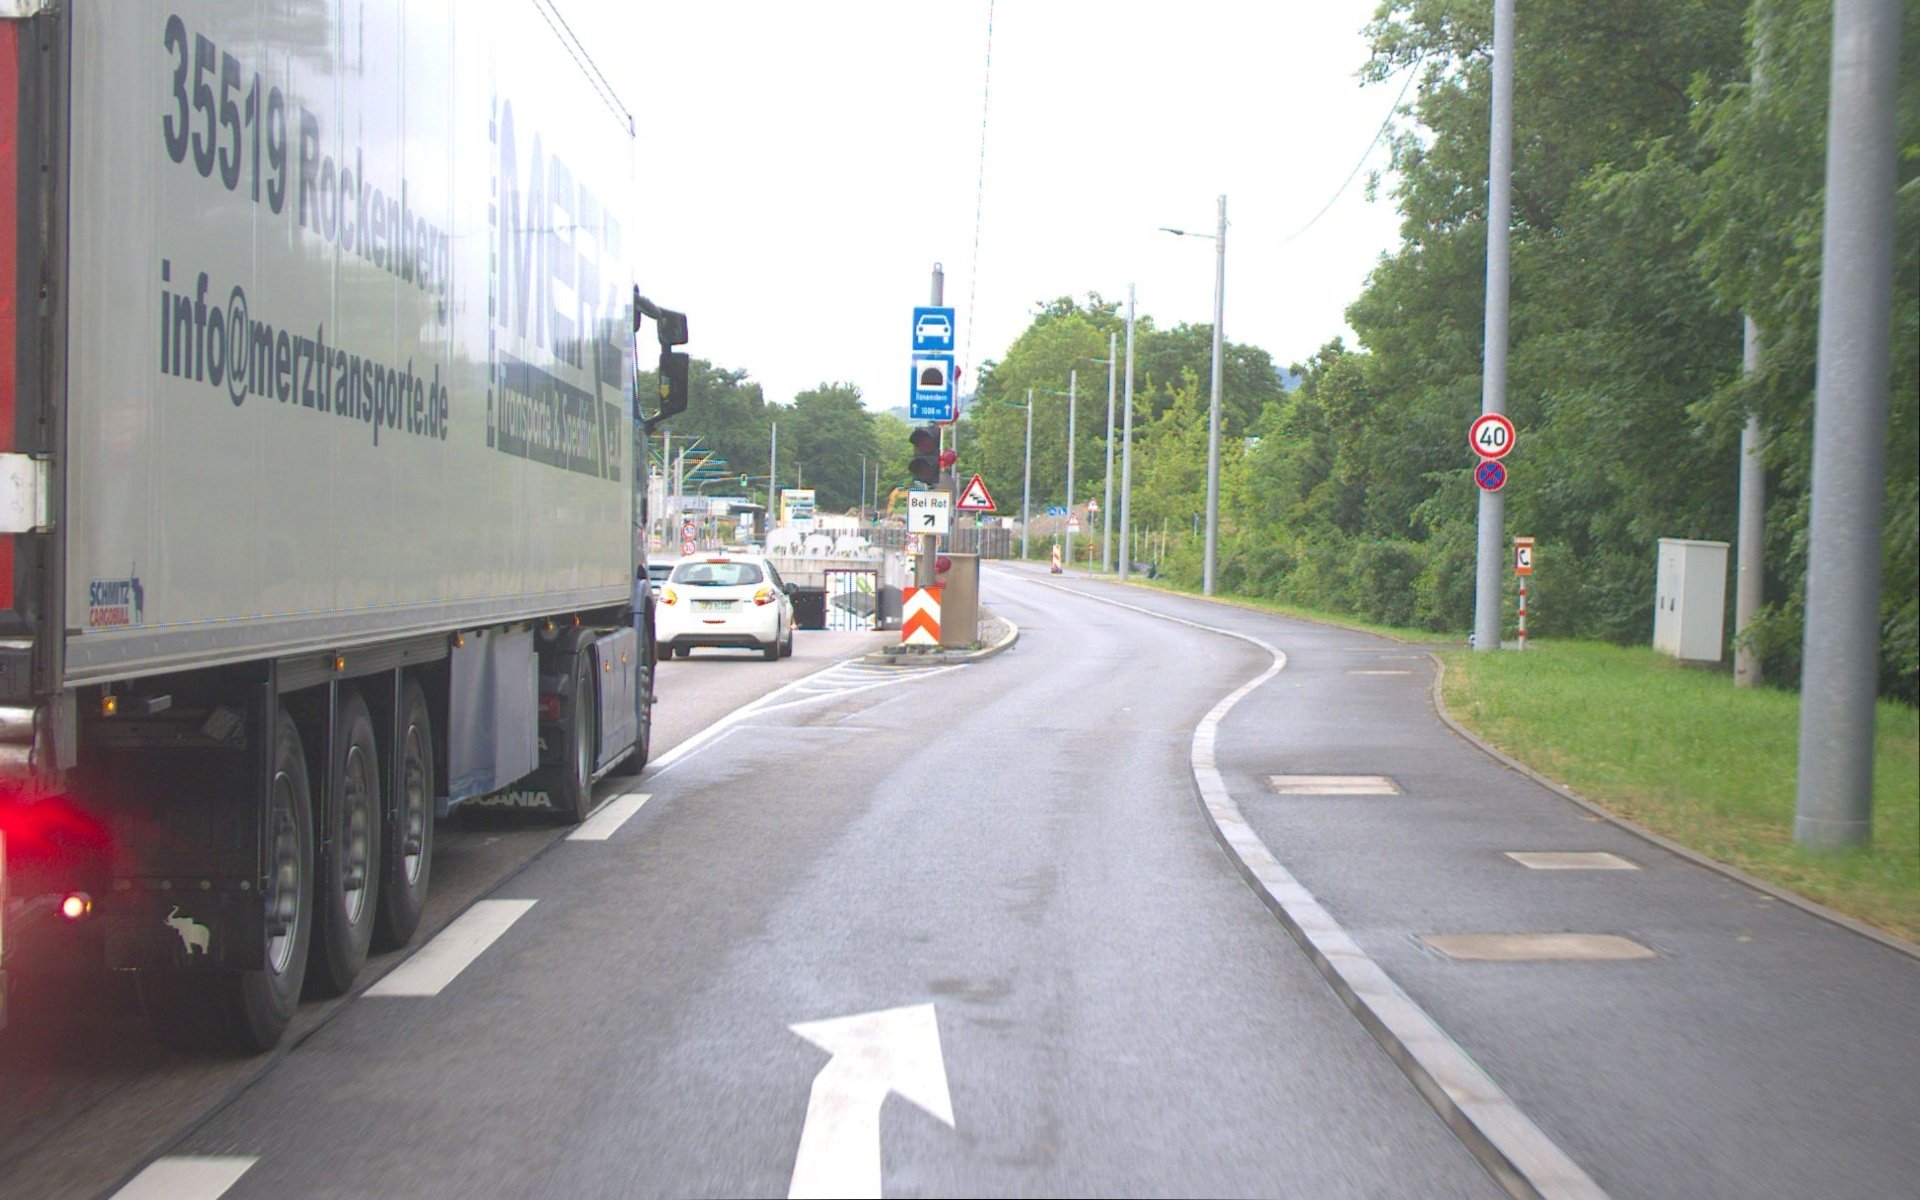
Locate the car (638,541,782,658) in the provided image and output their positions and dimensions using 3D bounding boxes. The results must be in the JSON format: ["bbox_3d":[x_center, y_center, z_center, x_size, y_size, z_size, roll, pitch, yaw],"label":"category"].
[{"bbox_3d":[-3.438,-0.035,47.892,1.810,1.419,4.001,1,3,-2],"label":"car"}]

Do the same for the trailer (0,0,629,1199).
[{"bbox_3d":[-3.222,-0.834,13.285,2.762,4.238,13.184,0,1,-1],"label":"trailer"}]

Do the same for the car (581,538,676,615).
[{"bbox_3d":[-6.914,-0.513,71.976,1.681,1.441,4.001,1,3,-2],"label":"car"}]

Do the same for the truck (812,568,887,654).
[{"bbox_3d":[-5.375,0.487,168.307,3.518,4.026,8.075,1,1,-1],"label":"truck"}]

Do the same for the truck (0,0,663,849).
[{"bbox_3d":[-3.306,-0.968,19.616,2.756,4.190,6.307,0,1,-1],"label":"truck"}]
